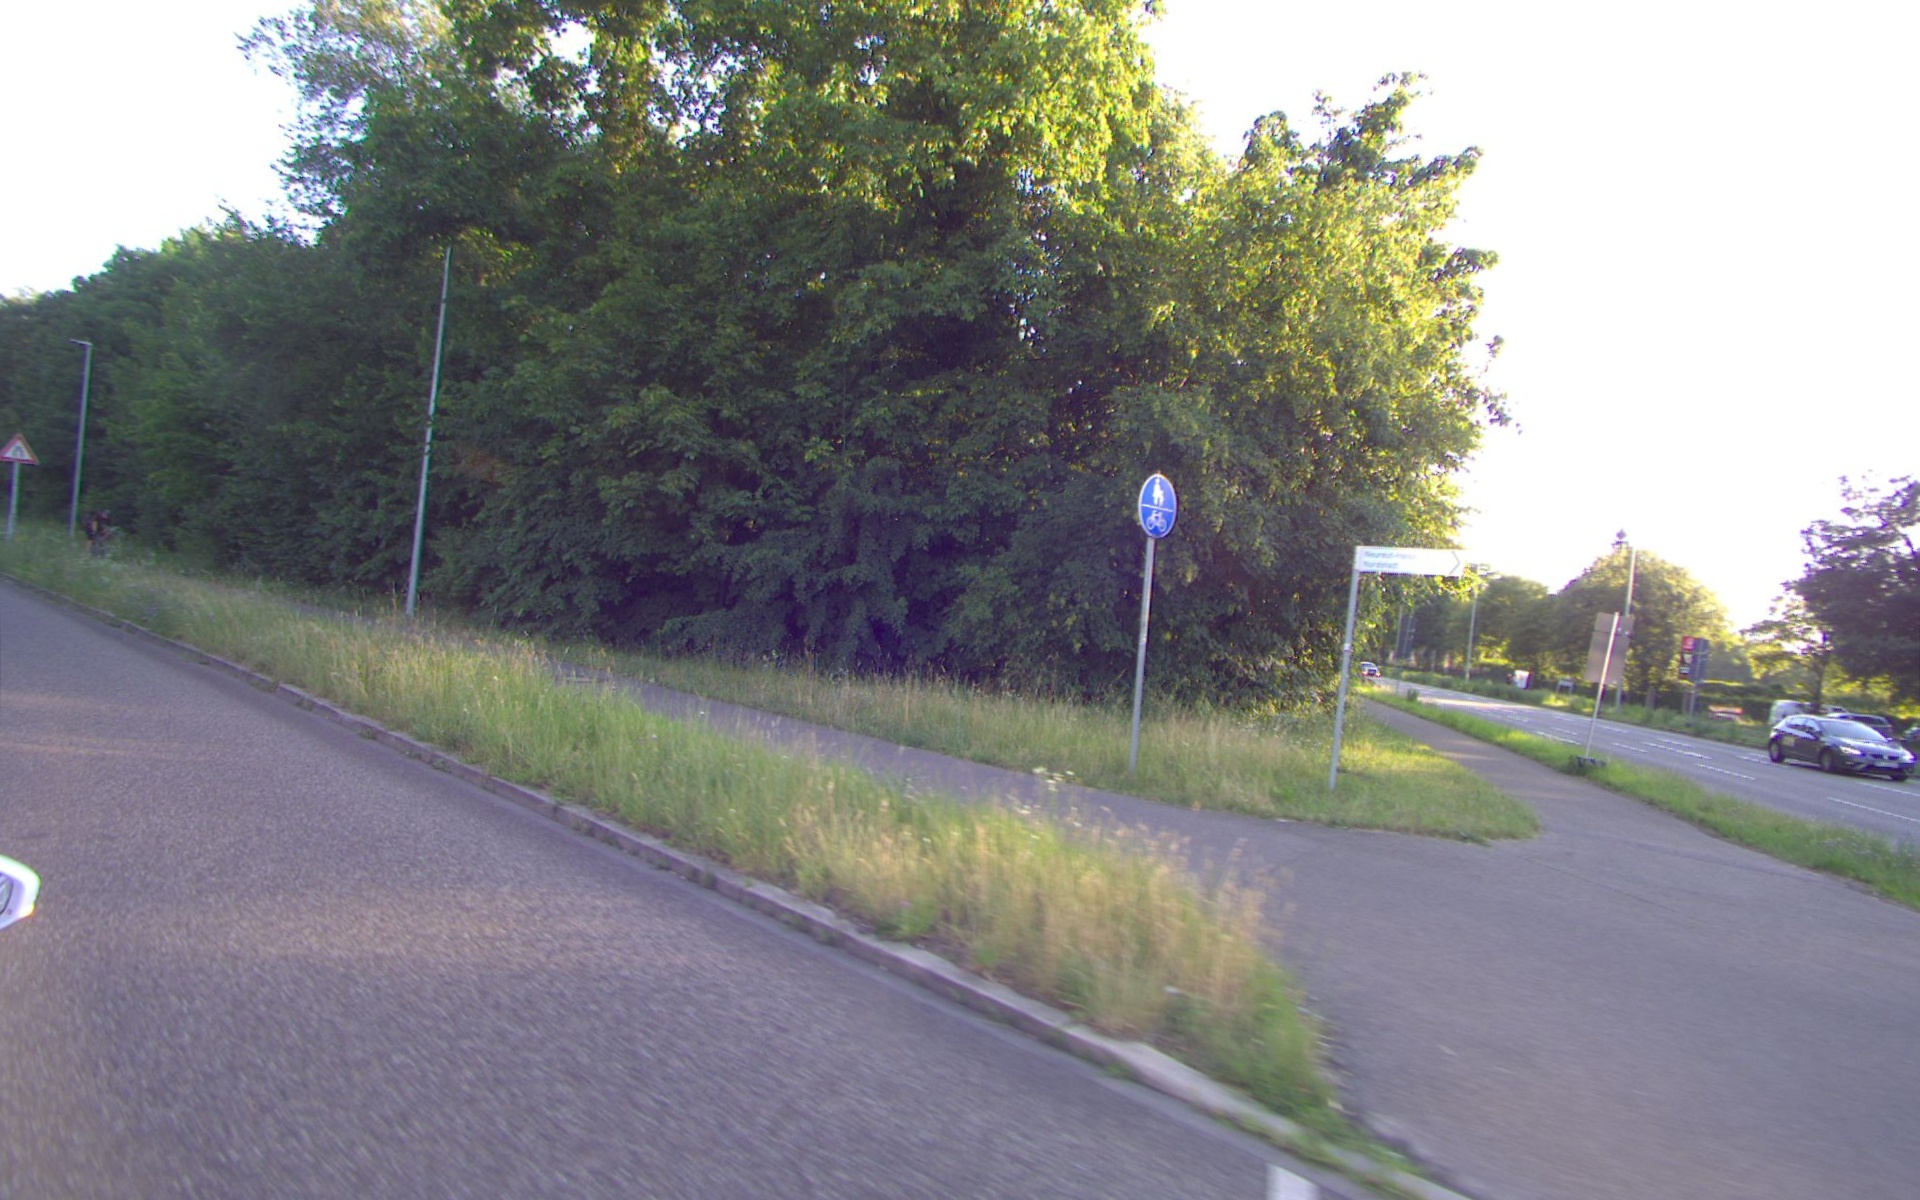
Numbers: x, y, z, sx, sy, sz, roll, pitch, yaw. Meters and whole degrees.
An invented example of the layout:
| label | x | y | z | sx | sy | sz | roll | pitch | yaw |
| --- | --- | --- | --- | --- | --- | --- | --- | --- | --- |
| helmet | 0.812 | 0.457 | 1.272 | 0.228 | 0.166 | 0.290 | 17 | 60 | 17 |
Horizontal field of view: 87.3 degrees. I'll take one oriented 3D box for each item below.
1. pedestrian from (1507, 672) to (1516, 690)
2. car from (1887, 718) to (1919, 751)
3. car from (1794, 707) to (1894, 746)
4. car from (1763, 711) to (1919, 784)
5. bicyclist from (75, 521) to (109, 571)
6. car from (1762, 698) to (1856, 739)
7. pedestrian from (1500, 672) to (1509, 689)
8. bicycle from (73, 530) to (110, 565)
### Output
| label | x | y | z | sx | sy | sz | roll | pitch | yaw |
| --- | --- | --- | --- | --- | --- | --- | --- | --- | --- |
| pedestrian | 57.220 | 8.388 | 104.299 | 0.557 | 1.796 | 0.677 | 5 | 0 | 18 |
| car | 50.389 | 7.091 | 51.317 | 4.091 | 1.497 | 1.784 | 6 | 0 | 14 |
| car | 52.502 | 7.479 | 59.858 | 3.924 | 1.657 | 1.826 | 6 | 0 | 17 |
| car | 23.945 | 3.930 | 27.321 | 1.837 | 1.422 | 4.077 | 5 | -1 | 17 |
| bicyclist | -27.472 | -1.709 | 31.836 | 0.769 | 1.473 | 0.602 | 6 | 1 | 41 |
| car | 53.030 | 7.389 | 62.934 | 3.924 | 1.888 | 1.826 | 6 | 0 | 17 |
| pedestrian | 56.563 | 8.349 | 104.518 | 0.557 | 1.767 | 0.677 | 5 | 0 | 18 |
| bicycle | -27.508 | -1.664 | 31.849 | 1.667 | 1.008 | 0.610 | 5 | 0 | 41 |
